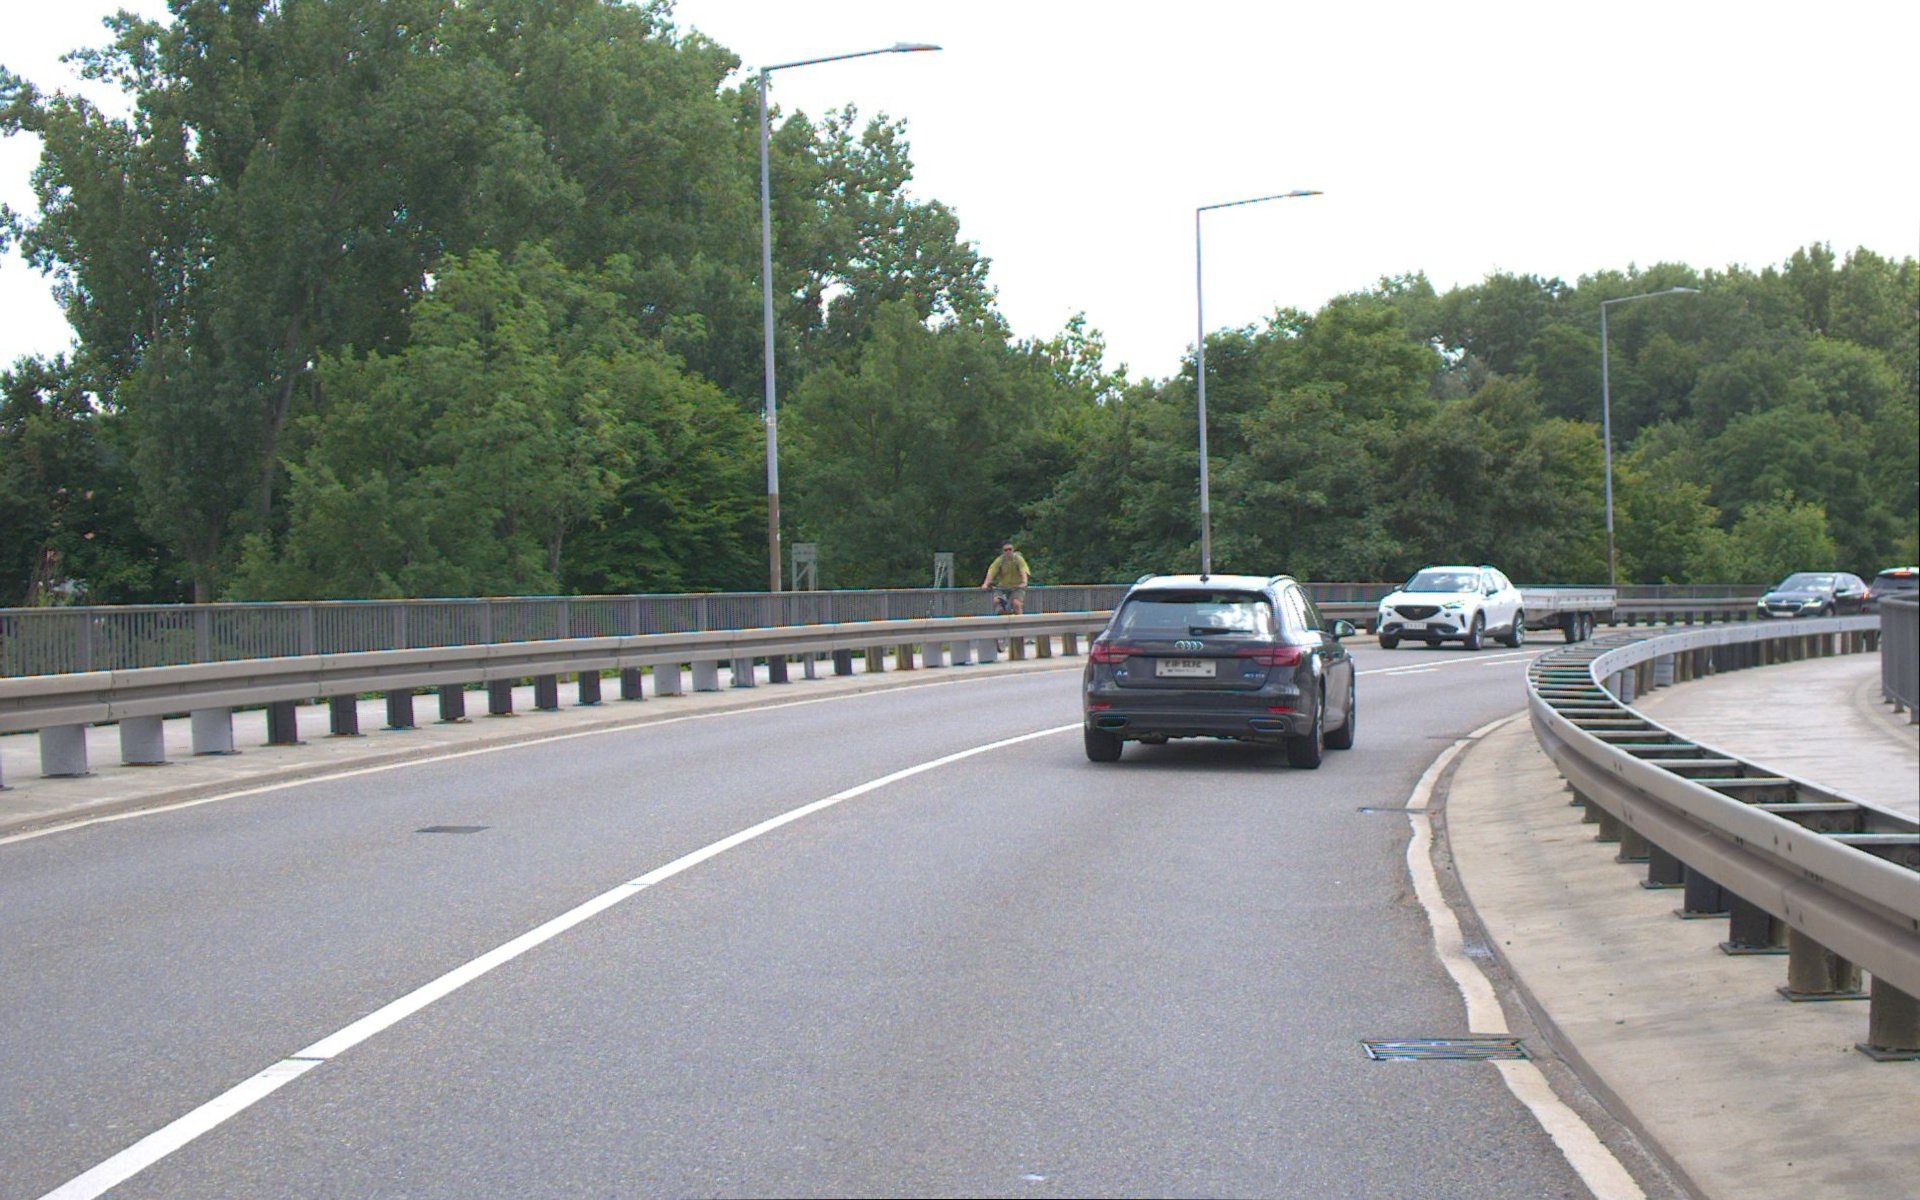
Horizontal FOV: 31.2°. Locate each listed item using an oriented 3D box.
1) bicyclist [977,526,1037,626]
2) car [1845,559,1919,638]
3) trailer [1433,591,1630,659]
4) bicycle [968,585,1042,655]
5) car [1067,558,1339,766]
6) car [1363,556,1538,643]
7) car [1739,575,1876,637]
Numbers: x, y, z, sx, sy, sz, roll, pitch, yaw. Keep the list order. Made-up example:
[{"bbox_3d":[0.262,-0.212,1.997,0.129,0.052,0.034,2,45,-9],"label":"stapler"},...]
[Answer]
[{"bbox_3d":[0.757,-0.384,55.041,0.767,1.597,0.947,0,0,12],"label":"bicyclist"},{"bbox_3d":[21.141,-0.027,75.393,1.825,1.646,3.847,3,2,40],"label":"car"},{"bbox_3d":[11.373,0.466,68.016,2.048,1.205,5.973,1,1,28],"label":"trailer"},{"bbox_3d":[0.722,0.315,54.922,0.769,1.091,2.114,0,0,12],"label":"bicycle"},{"bbox_3d":[1.996,0.460,27.187,1.828,1.486,4.205,1,0,8],"label":"car"},{"bbox_3d":[9.076,-0.025,63.389,1.809,1.530,4.342,1,1,28],"label":"car"},{"bbox_3d":[21.475,0.128,87.027,1.821,1.446,4.728,2,2,34],"label":"car"}]
